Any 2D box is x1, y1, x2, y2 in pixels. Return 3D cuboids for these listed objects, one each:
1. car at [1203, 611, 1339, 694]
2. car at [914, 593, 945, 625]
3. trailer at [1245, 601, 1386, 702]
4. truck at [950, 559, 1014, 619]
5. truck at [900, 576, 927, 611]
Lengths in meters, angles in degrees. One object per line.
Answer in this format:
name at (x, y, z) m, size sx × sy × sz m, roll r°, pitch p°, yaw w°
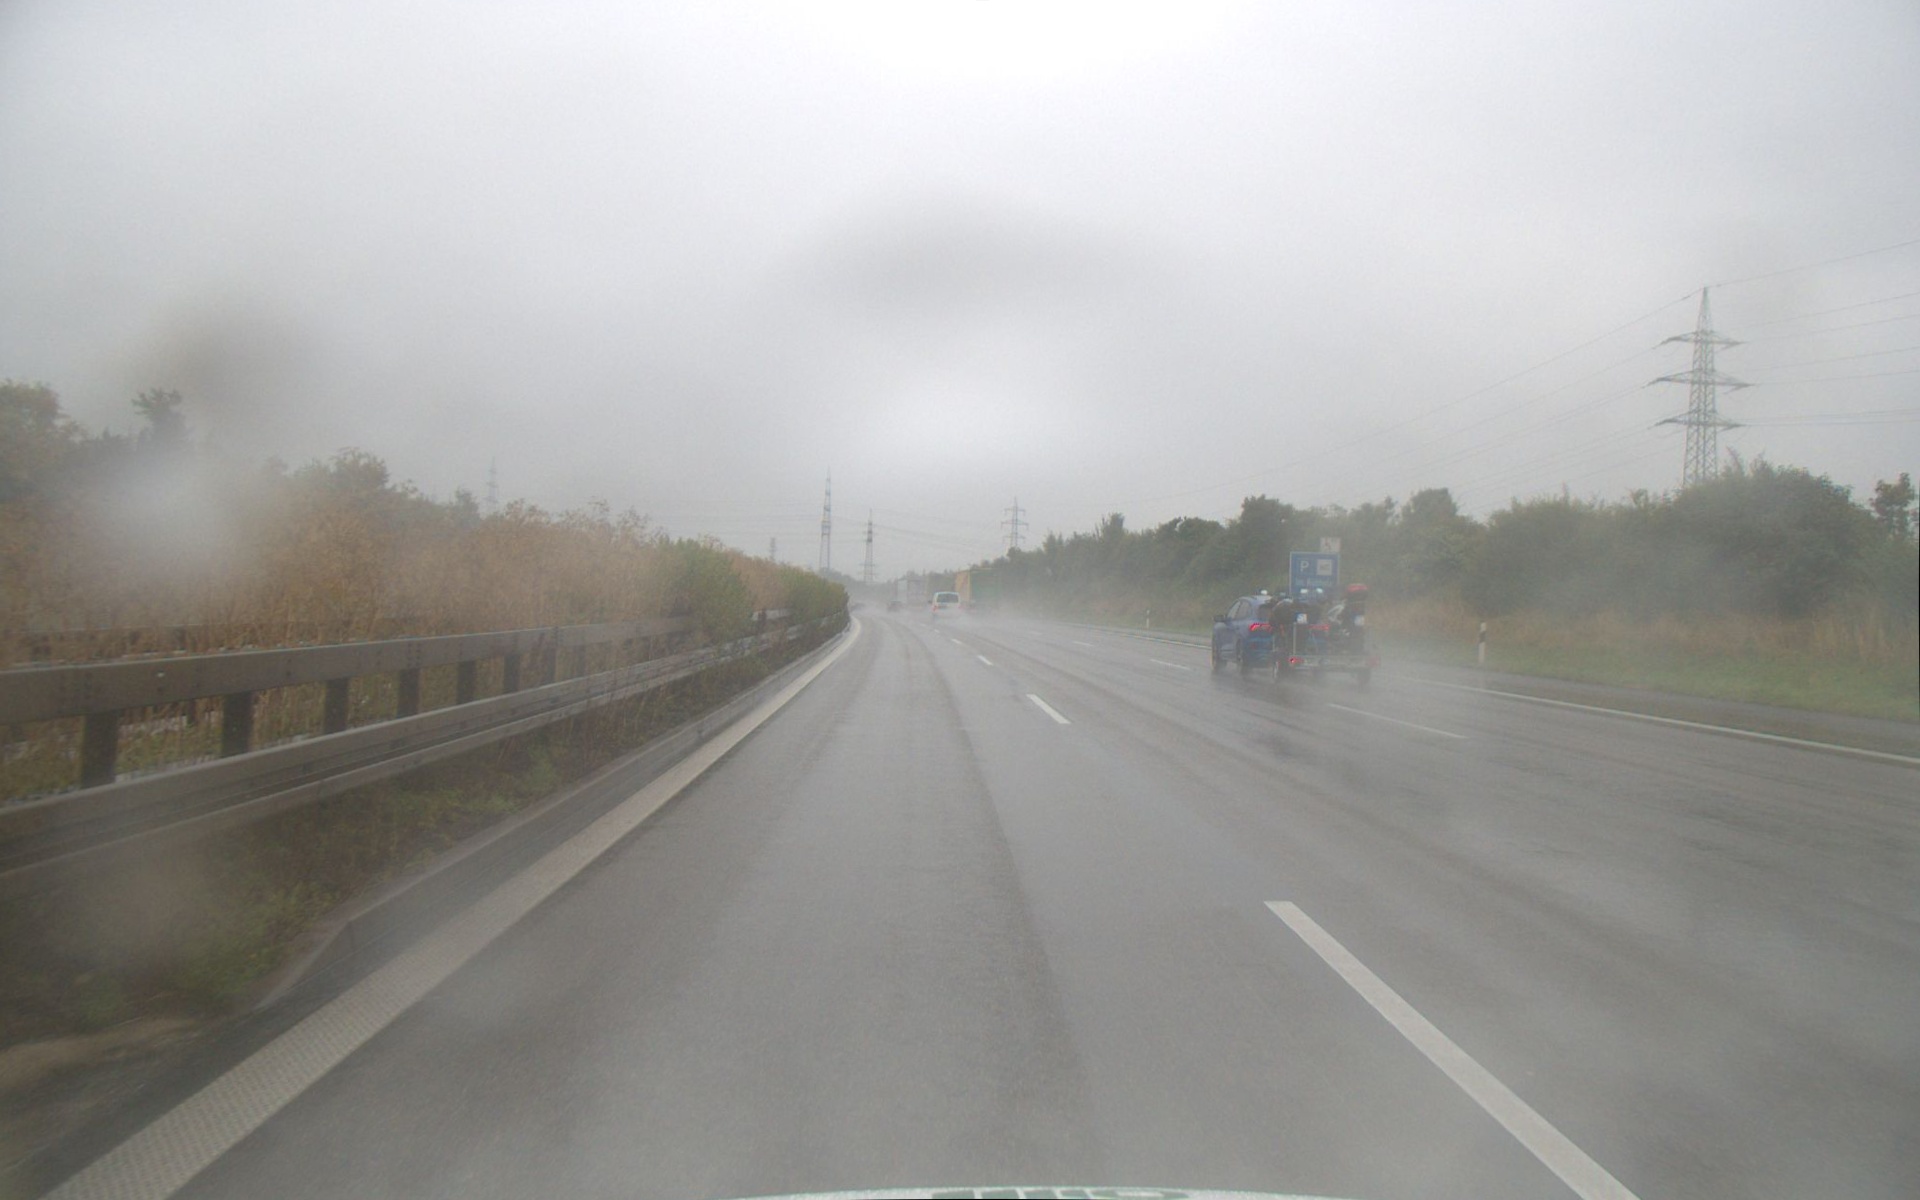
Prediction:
car at (6.586, 1.082, 35.555) m, size 1.953 × 1.647 × 4.991 m, roll 0°, pitch -1°, yaw 0°
car at (-1.995, 0.593, 108.249) m, size 1.953 × 2.049 × 3.999 m, roll 1°, pitch 0°, yaw -1°
trailer at (6.693, 0.952, 31.462) m, size 1.939 × 1.816 × 3.188 m, roll 0°, pitch -1°, yaw -1°
truck at (1.717, -0.819, 140.508) m, size 4.106 × 4.711 × 16.090 m, roll 1°, pitch -1°, yaw -4°
truck at (-6.017, -0.781, 211.341) m, size 3.168 × 4.387 × 8.831 m, roll 1°, pitch 0°, yaw -3°
